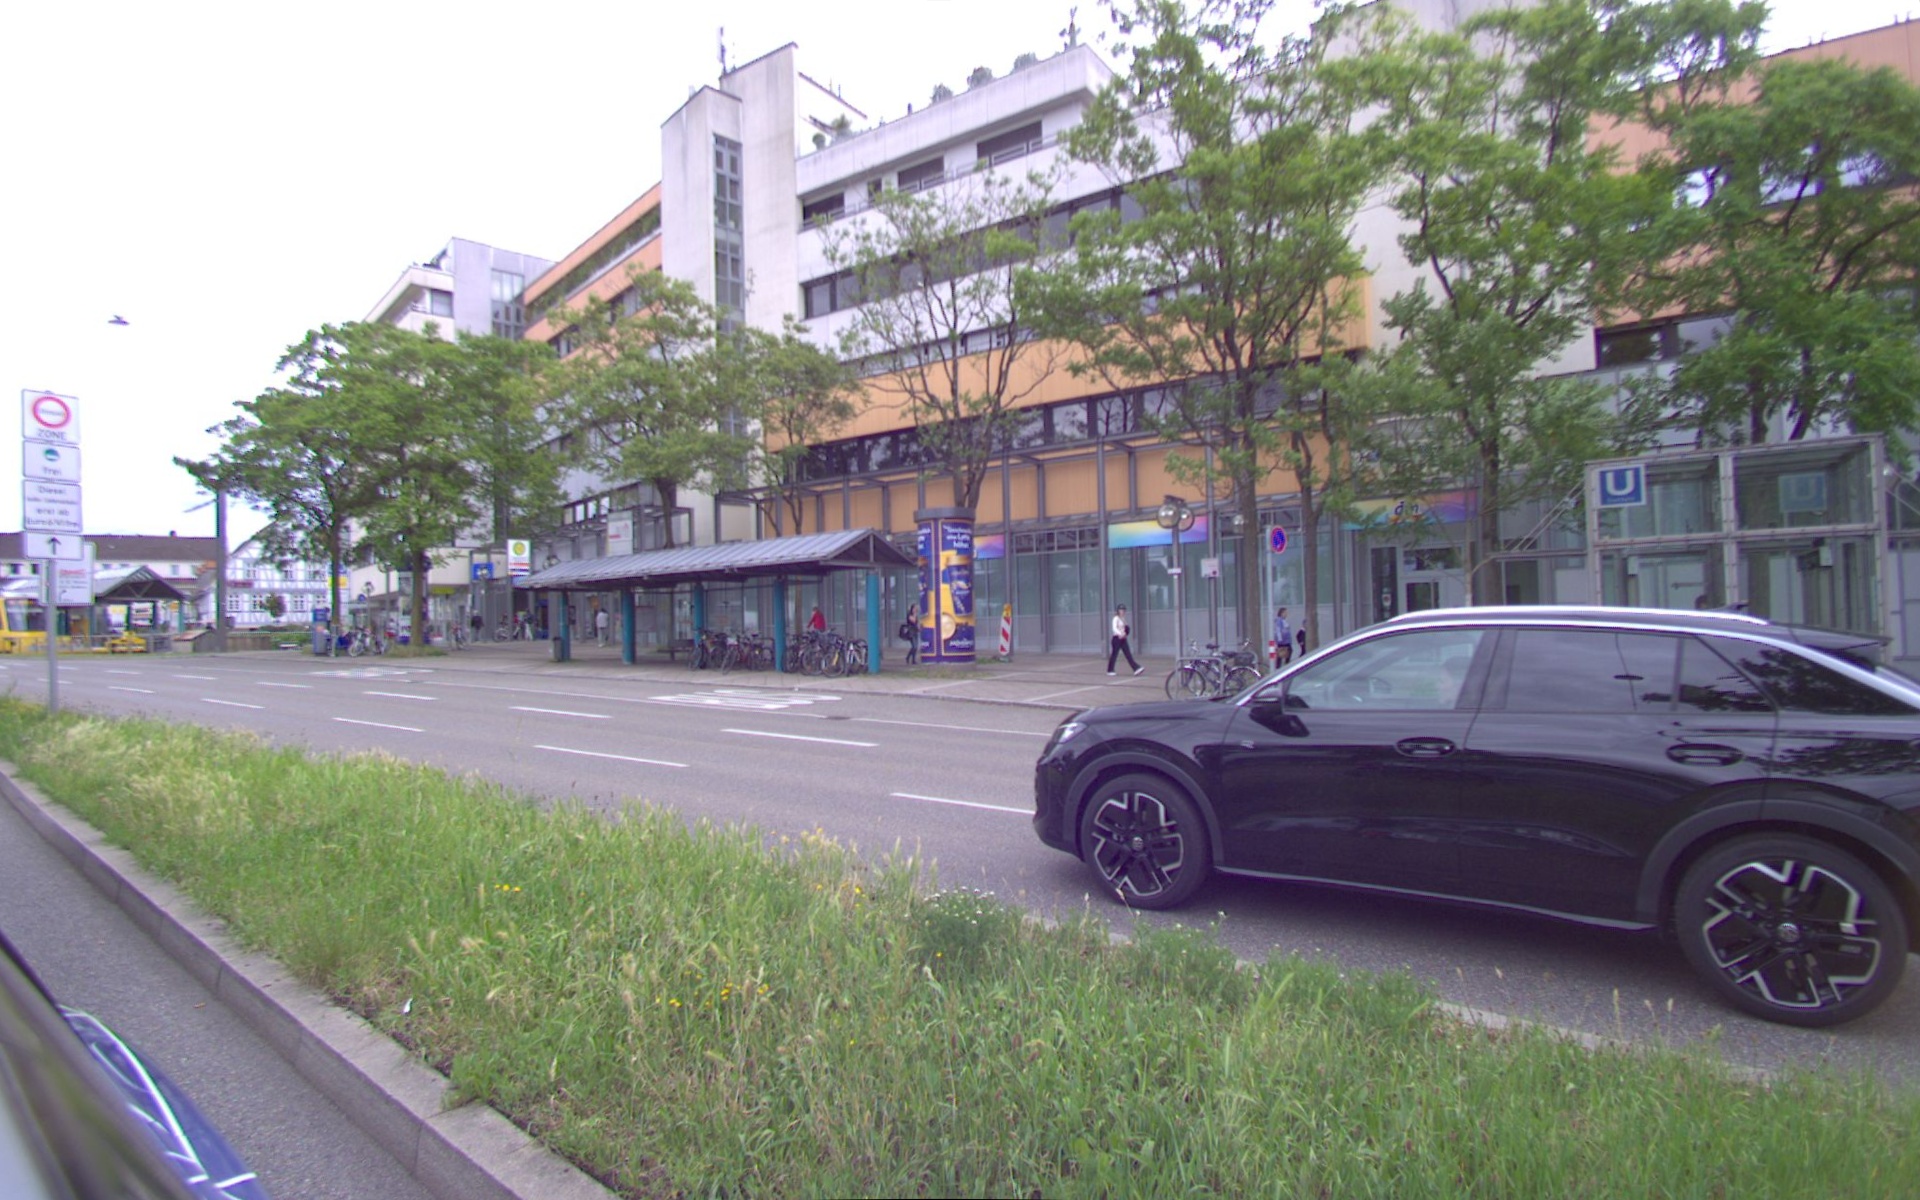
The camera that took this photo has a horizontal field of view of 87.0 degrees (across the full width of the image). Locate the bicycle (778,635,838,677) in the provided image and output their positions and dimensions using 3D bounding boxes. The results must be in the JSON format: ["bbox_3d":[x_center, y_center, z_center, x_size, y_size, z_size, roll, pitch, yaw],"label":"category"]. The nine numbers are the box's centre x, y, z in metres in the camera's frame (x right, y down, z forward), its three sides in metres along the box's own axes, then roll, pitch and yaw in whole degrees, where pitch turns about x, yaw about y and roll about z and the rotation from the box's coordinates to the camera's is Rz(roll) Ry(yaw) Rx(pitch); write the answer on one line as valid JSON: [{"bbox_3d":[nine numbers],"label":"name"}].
[{"bbox_3d":[-4.129,1.513,27.559,0.549,1.048,1.714,-2,-1,38],"label":"bicycle"}]

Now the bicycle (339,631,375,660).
[{"bbox_3d":[-23.604,1.766,39.652,0.585,1.085,2.042,0,-1,-12],"label":"bicycle"}]

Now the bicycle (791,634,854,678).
[{"bbox_3d":[-3.605,1.457,26.592,0.549,1.048,1.714,-2,0,38],"label":"bicycle"}]

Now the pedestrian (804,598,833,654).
[{"bbox_3d":[-5.196,0.934,37.159,0.791,2.029,0.703,-1,0,29],"label":"pedestrian"}]

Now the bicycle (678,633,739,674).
[{"bbox_3d":[-7.224,1.534,29.148,0.549,1.048,1.714,-2,0,38],"label":"bicycle"}]

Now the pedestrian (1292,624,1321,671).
[{"bbox_3d":[8.863,1.212,25.866,0.620,1.190,0.418,-1,-2,31],"label":"pedestrian"}]

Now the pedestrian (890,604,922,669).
[{"bbox_3d":[-1.534,1.034,28.815,0.769,1.800,0.525,-1,-2,33],"label":"pedestrian"}]

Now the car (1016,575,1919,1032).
[{"bbox_3d":[2.497,0.776,5.068,4.062,1.533,1.819,-1,-5,35],"label":"car"}]

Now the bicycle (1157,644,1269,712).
[{"bbox_3d":[4.376,1.322,17.596,0.802,1.068,1.739,0,-1,-40],"label":"bicycle"}]

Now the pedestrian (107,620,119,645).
[{"bbox_3d":[-69.125,2.631,82.587,0.731,2.029,0.940,1,-2,-39],"label":"pedestrian"}]

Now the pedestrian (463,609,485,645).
[{"bbox_3d":[-25.256,1.421,52.590,0.752,1.859,0.755,-1,-2,41],"label":"pedestrian"}]

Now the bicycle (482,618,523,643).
[{"bbox_3d":[-26.086,1.735,57.766,2.106,1.377,0.621,-1,0,-24],"label":"bicycle"}]

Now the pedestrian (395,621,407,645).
[{"bbox_3d":[-34.774,2.054,62.929,0.548,1.506,0.454,1,-2,-41],"label":"pedestrian"}]

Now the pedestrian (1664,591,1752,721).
[{"bbox_3d":[10.964,0.812,14.859,0.916,1.846,0.533,-1,-2,25],"label":"pedestrian"}]

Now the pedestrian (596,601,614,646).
[{"bbox_3d":[-16.315,1.080,46.486,0.558,2.029,0.611,1,-2,-44],"label":"pedestrian"}]

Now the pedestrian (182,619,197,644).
[{"bbox_3d":[-62.473,2.530,82.076,0.867,2.029,1.010,1,-2,-44],"label":"pedestrian"}]

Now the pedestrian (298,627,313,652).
[{"bbox_3d":[-41.101,2.453,63.534,0.581,1.554,0.570,-1,-2,32],"label":"pedestrian"}]

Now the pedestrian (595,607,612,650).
[{"bbox_3d":[-15.463,1.241,43.906,0.639,1.823,0.761,0,-2,-16],"label":"pedestrian"}]

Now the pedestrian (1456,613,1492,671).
[{"bbox_3d":[12.516,1.017,24.644,0.694,1.385,0.578,-1,-2,34],"label":"pedestrian"}]

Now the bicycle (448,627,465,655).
[{"bbox_3d":[-21.342,1.707,42.929,0.584,1.134,2.044,1,-1,-26],"label":"bicycle"}]

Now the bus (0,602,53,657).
[{"bbox_3d":[-55.971,1.687,58.618,8.470,3.006,2.530,-1,-2,29],"label":"bus"}]

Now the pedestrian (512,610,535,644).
[{"bbox_3d":[-21.746,1.332,50.417,0.752,1.695,0.755,-1,-2,41],"label":"pedestrian"}]

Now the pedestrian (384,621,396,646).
[{"bbox_3d":[-35.220,2.063,62.532,0.548,1.506,0.454,1,-2,-41],"label":"pedestrian"}]

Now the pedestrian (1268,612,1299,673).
[{"bbox_3d":[8.126,1.058,25.394,0.620,1.515,0.563,-1,-2,31],"label":"pedestrian"}]

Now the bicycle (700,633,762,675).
[{"bbox_3d":[-6.446,1.511,28.583,0.549,1.048,1.714,-2,1,38],"label":"bicycle"}]

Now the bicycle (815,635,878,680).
[{"bbox_3d":[-2.895,1.472,26.059,0.549,1.048,1.714,-2,0,38],"label":"bicycle"}]

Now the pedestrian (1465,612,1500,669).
[{"bbox_3d":[13.020,1.009,25.224,0.694,1.385,0.578,-1,-2,34],"label":"pedestrian"}]

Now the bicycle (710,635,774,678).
[{"bbox_3d":[-5.951,1.528,27.721,0.549,1.048,1.714,-2,1,38],"label":"bicycle"}]

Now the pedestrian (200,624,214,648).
[{"bbox_3d":[-49.960,2.391,67.131,0.581,1.554,0.570,-1,-2,32],"label":"pedestrian"}]

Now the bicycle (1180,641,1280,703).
[{"bbox_3d":[4.992,1.311,18.788,1.737,1.074,0.542,-2,-1,45],"label":"bicycle"}]

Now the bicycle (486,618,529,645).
[{"bbox_3d":[-24.937,1.725,55.788,2.107,1.385,0.621,-1,0,-31],"label":"bicycle"}]

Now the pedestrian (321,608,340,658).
[{"bbox_3d":[-29.239,1.535,46.996,0.608,2.325,0.583,-1,-2,39],"label":"pedestrian"}]

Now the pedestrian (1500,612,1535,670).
[{"bbox_3d":[13.591,1.001,24.668,0.694,1.385,0.578,-1,-2,34],"label":"pedestrian"}]

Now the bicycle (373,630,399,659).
[{"bbox_3d":[-22.737,1.753,40.109,0.584,1.085,2.044,0,-1,-21],"label":"bicycle"}]

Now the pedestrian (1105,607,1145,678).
[{"bbox_3d":[3.960,1.004,24.286,0.721,1.662,0.669,-1,-1,37],"label":"pedestrian"}]
